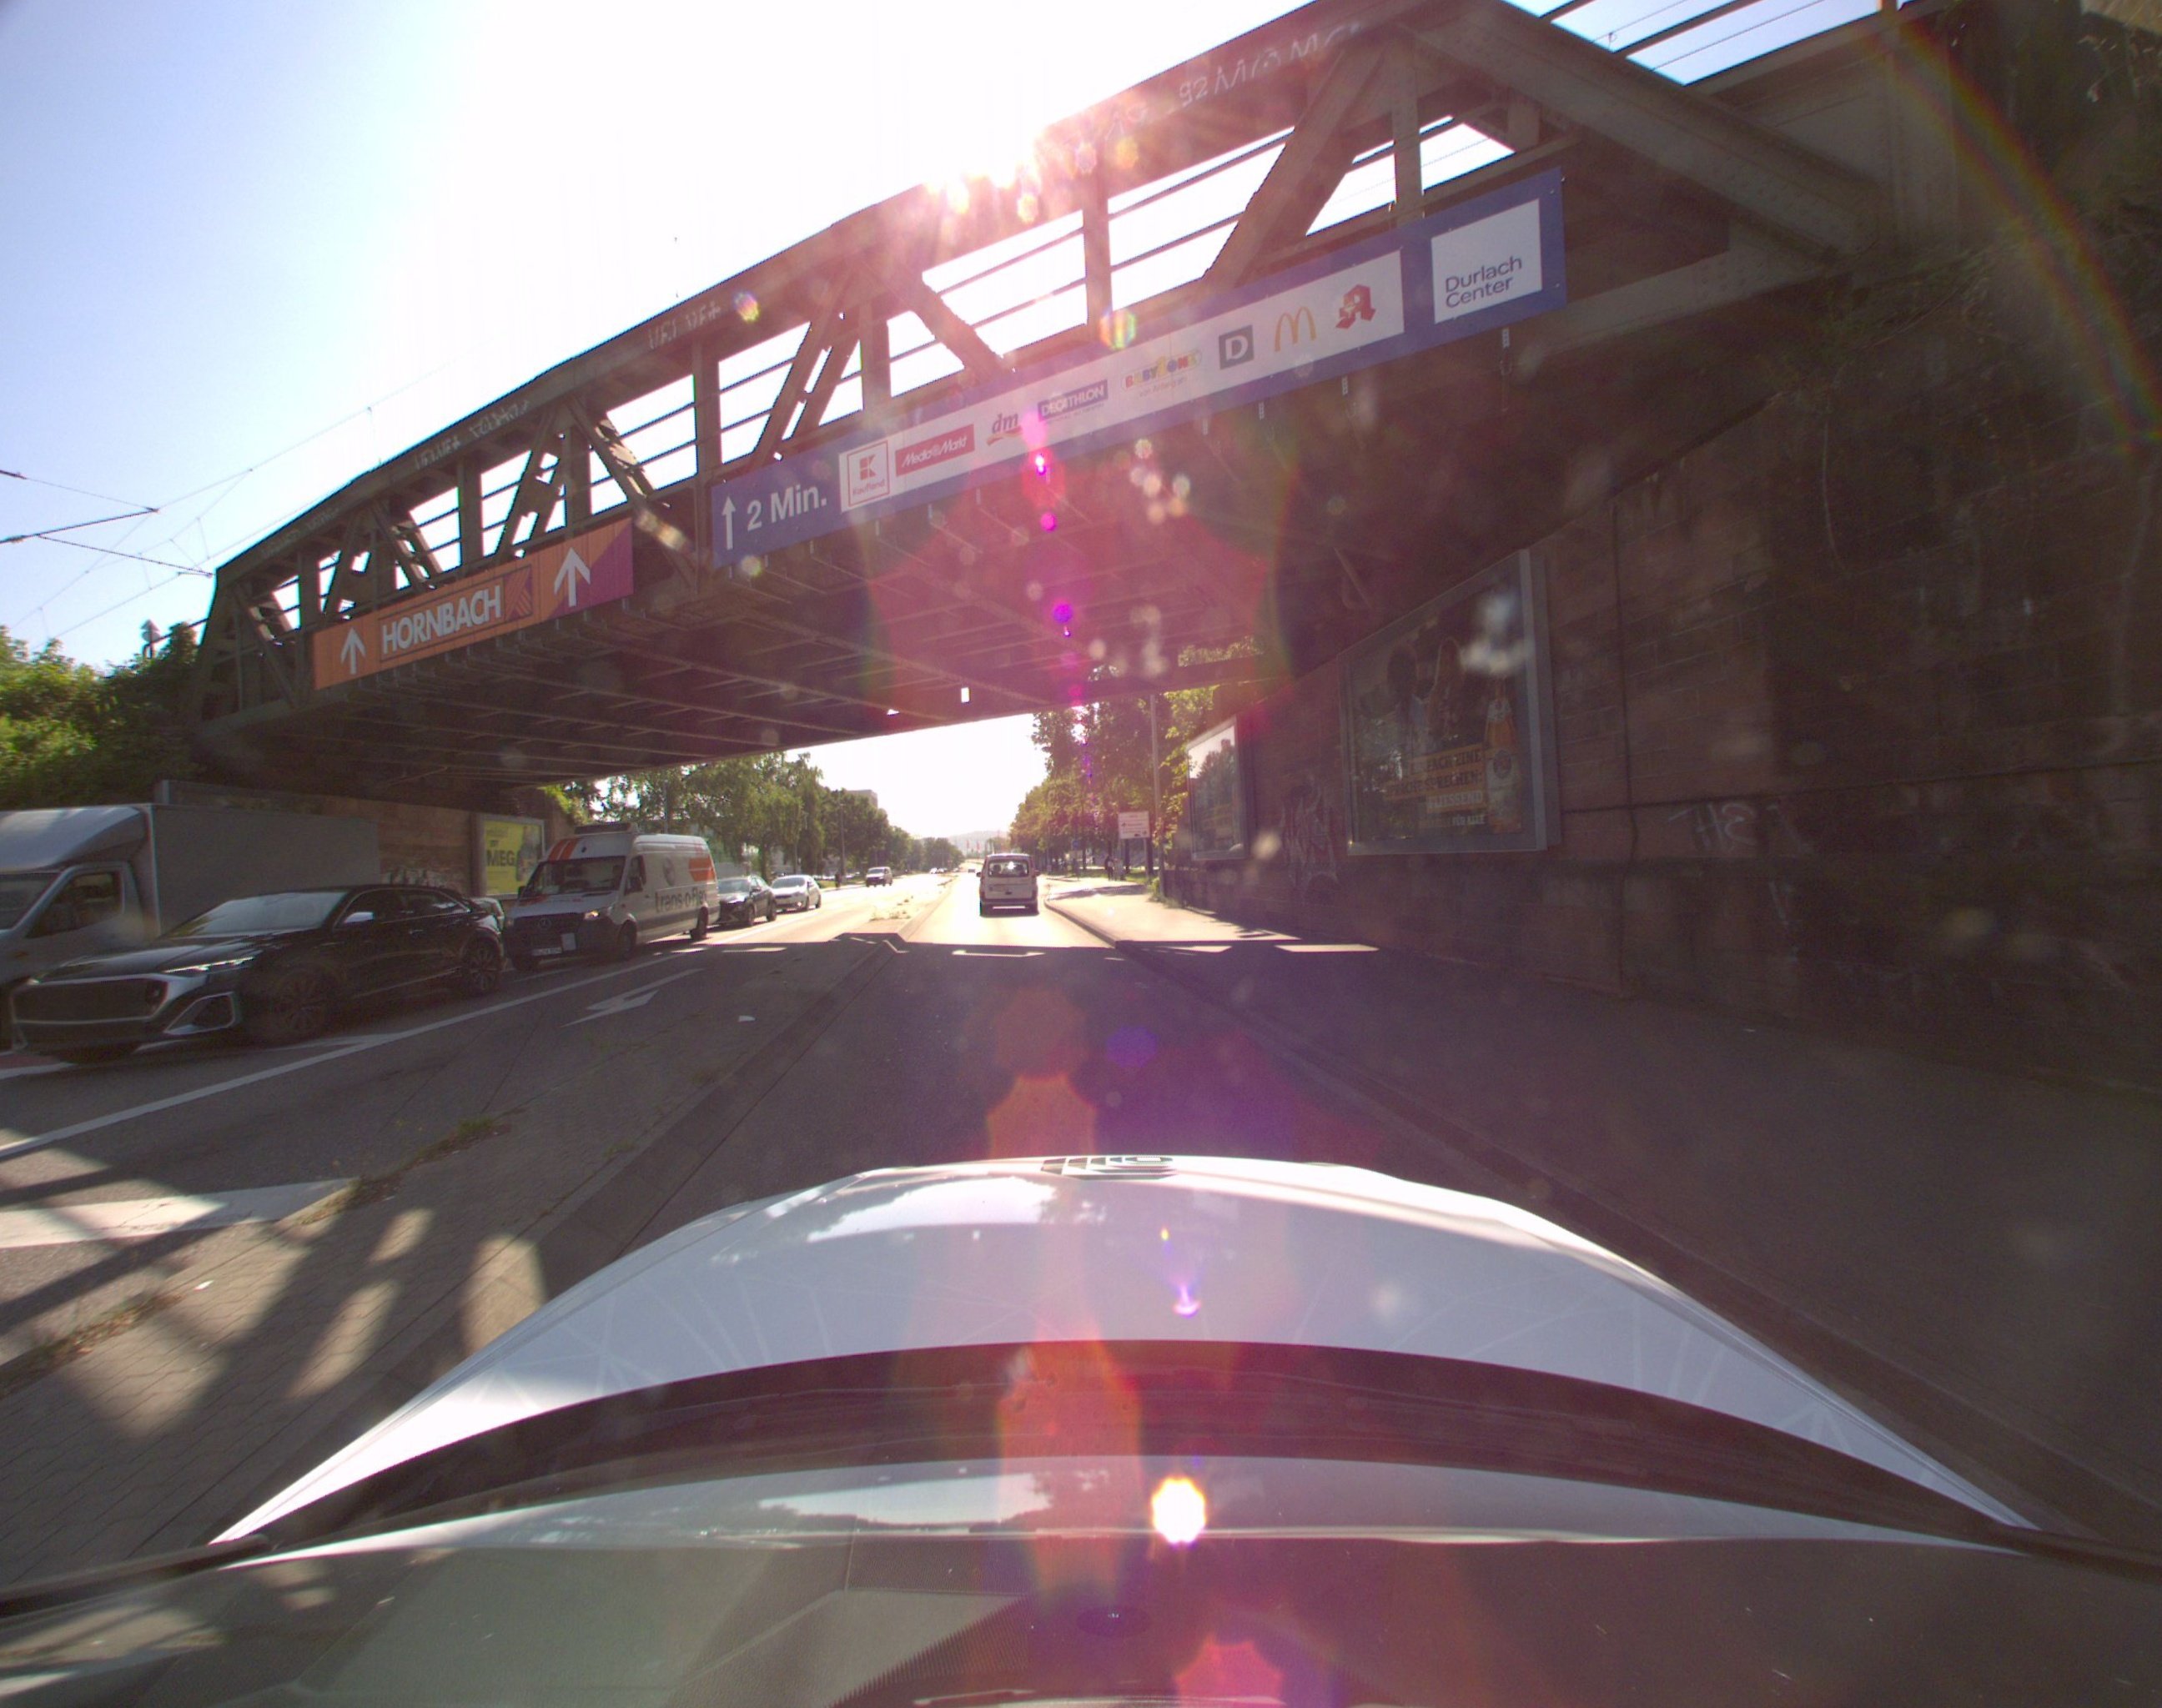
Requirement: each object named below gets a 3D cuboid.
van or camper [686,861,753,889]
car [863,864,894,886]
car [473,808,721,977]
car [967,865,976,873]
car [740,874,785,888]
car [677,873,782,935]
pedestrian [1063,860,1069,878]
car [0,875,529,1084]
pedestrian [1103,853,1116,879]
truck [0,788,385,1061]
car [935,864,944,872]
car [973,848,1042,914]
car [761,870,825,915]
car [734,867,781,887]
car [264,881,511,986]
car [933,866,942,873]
[{"bbox_3d":[-33.587,1.918,75.810,5.378,2.470,1.993,-1,0,-10],"label":"van or camper"},{"bbox_3d":[-20.713,2.109,83.429,1.989,2.013,5.341,-3,0,-3],"label":"car"},{"bbox_3d":[-9.995,0.705,17.738,1.993,2.805,6.916,-5,0,-9],"label":"car"},{"bbox_3d":[-26.851,3.689,199.686,1.992,1.684,3.990,-3,-1,-7],"label":"car"},{"bbox_3d":[-36.285,3.037,92.804,4.260,1.328,1.950,-3,-1,-6],"label":"car"},{"bbox_3d":[-10.768,1.457,25.297,1.767,1.494,4.168,-4,1,-7],"label":"car"},{"bbox_3d":[-1.518,1.510,82.641,0.534,1.841,0.726,-3,-1,-7],"label":"pedestrian"},{"bbox_3d":[-9.135,1.183,9.761,1.991,1.681,4.939,-3,0,-6],"label":"car"},{"bbox_3d":[1.783,0.767,51.643,0.646,1.603,0.845,-3,-1,-6],"label":"pedestrian"},{"bbox_3d":[-13.930,0.886,11.925,2.341,3.088,7.044,-3,0,-10],"label":"truck"},{"bbox_3d":[-38.215,3.752,219.621,1.991,2.013,3.992,-1,0,-6],"label":"car"},{"bbox_3d":[-2.351,0.813,25.746,1.903,1.829,4.170,-3,-1,-6],"label":"car"},{"bbox_3d":[-11.789,1.539,33.549,1.642,1.494,3.818,-4,1,-8],"label":"car"},{"bbox_3d":[-34.715,2.495,87.547,4.260,1.884,1.950,-3,-1,-6],"label":"car"},{"bbox_3d":[-14.946,1.605,17.958,1.982,1.689,4.277,-4,1,-7],"label":"car"},{"bbox_3d":[-37.600,4.066,213.171,1.840,1.463,4.987,-5,0,-7],"label":"car"}]
